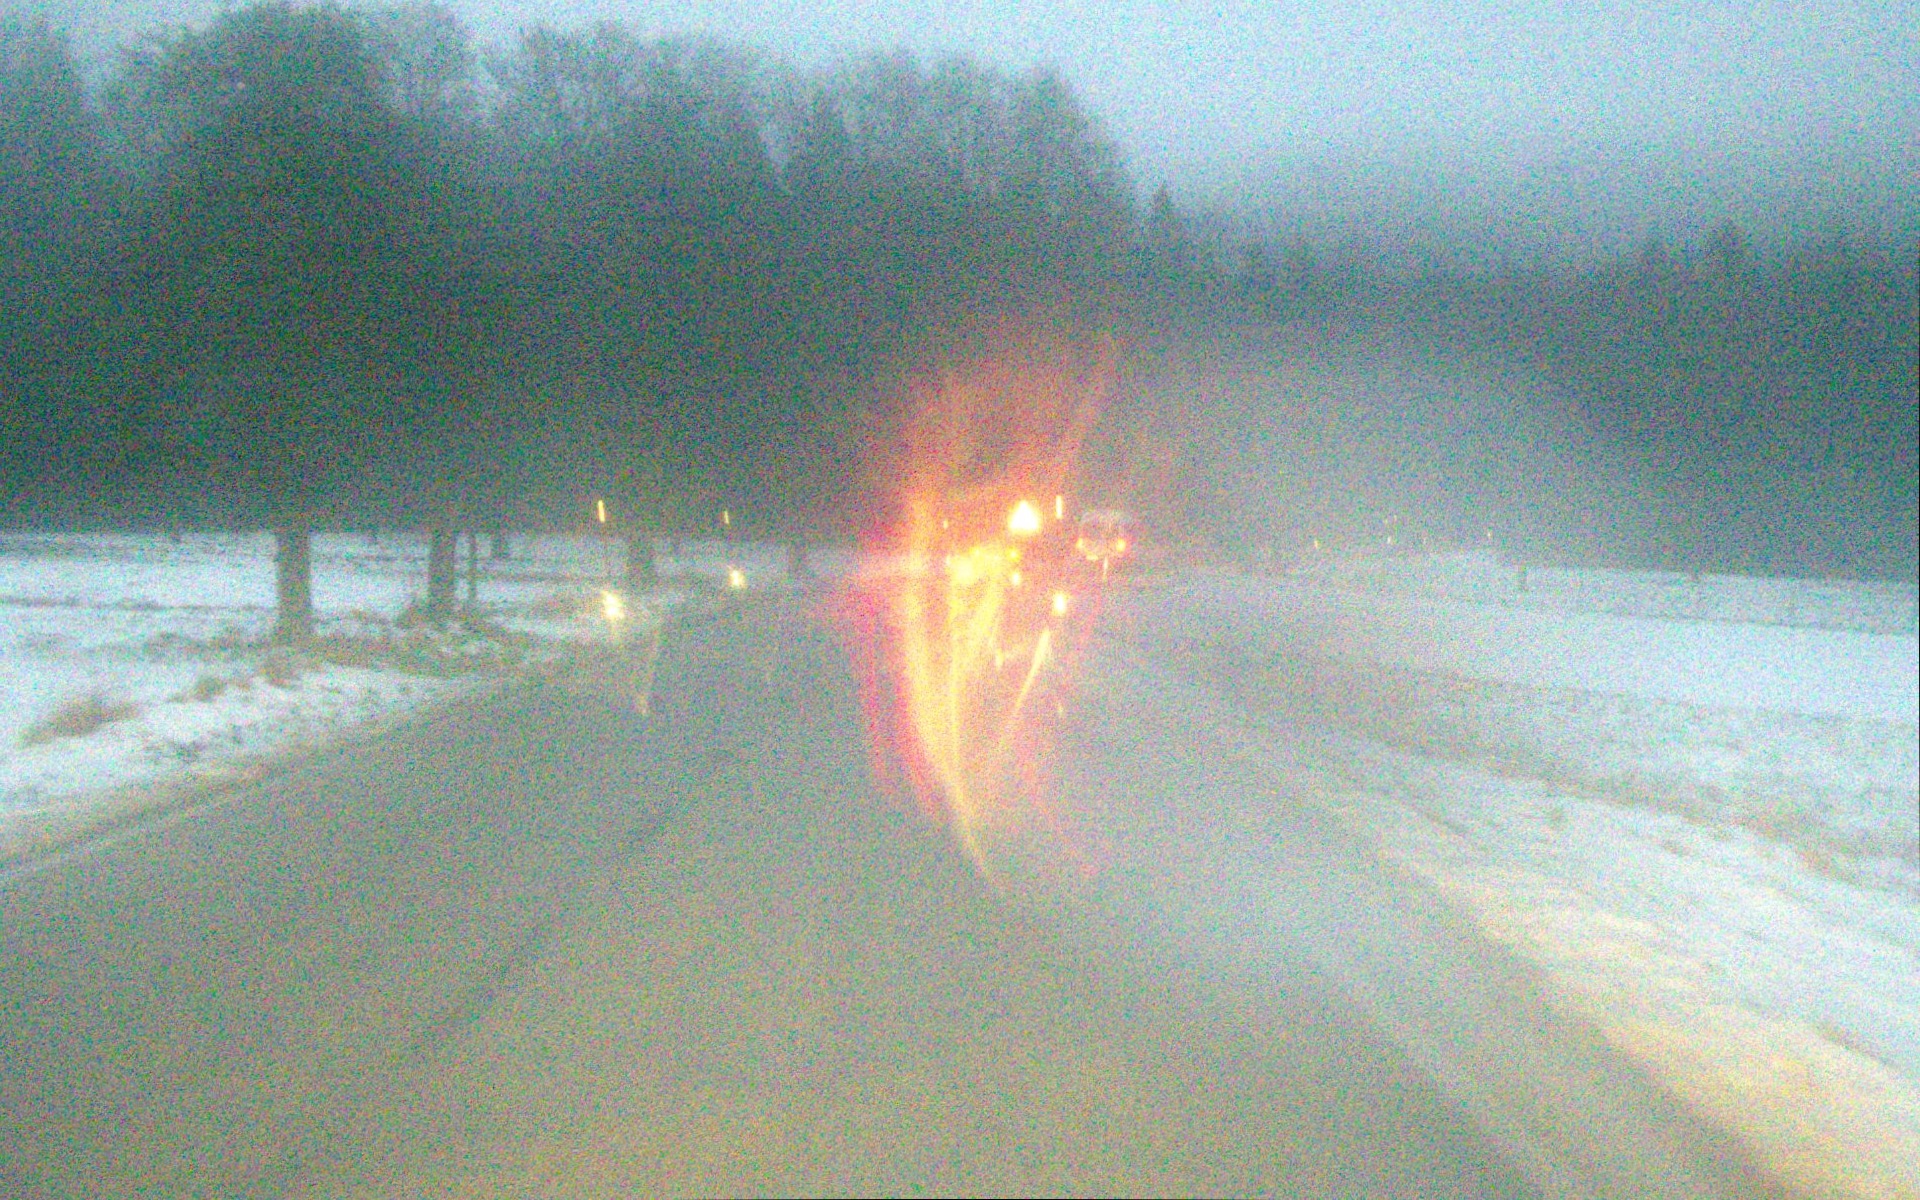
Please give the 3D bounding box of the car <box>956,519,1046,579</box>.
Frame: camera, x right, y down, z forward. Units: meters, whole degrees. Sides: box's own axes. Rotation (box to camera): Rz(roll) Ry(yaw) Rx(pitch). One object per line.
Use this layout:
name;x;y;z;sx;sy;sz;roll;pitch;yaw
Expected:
car;1.506;-1.848;124.625;1.995;2.044;3.996;3;2;20

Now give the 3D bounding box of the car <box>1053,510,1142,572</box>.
car;6.009;-2.581;149.622;2.255;2.636;5.000;1;2;22
